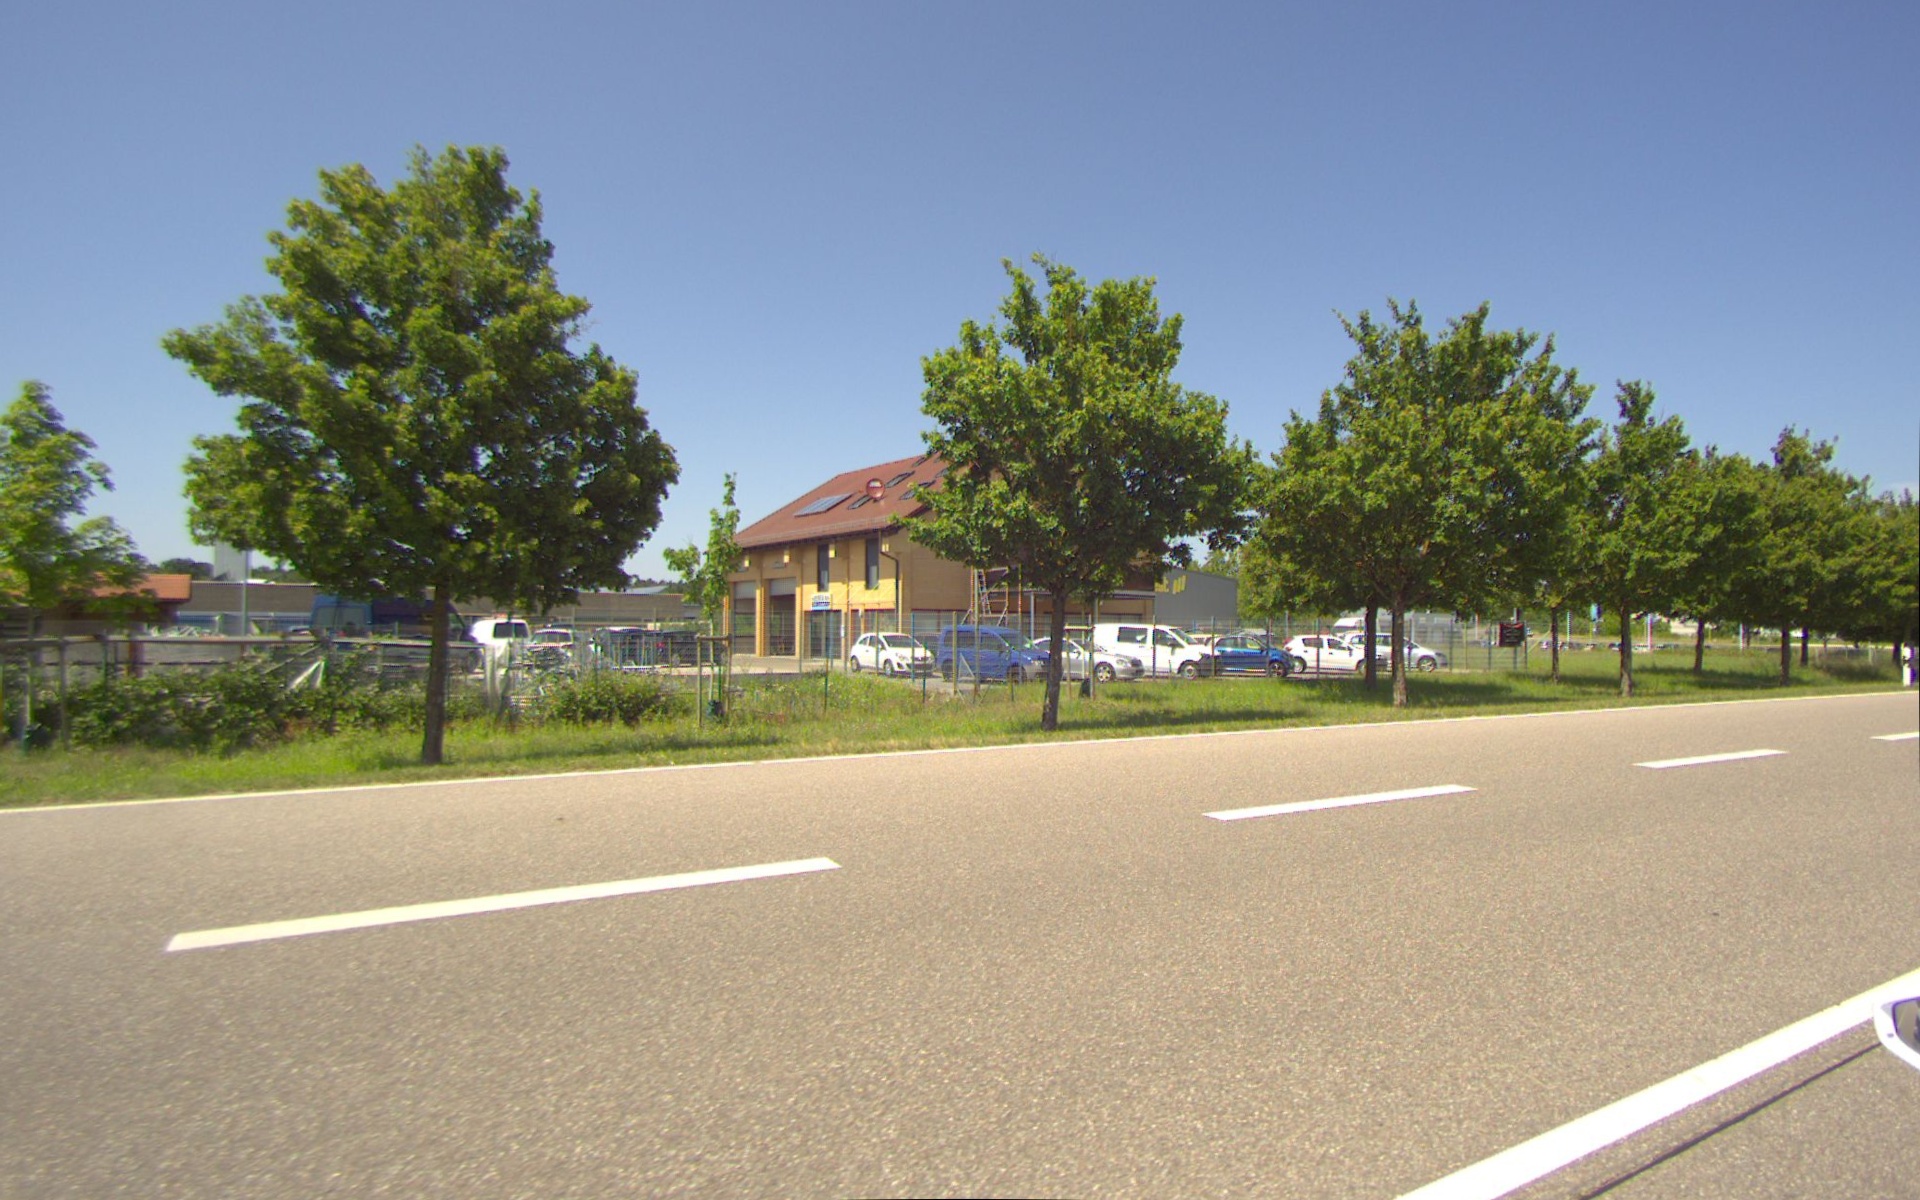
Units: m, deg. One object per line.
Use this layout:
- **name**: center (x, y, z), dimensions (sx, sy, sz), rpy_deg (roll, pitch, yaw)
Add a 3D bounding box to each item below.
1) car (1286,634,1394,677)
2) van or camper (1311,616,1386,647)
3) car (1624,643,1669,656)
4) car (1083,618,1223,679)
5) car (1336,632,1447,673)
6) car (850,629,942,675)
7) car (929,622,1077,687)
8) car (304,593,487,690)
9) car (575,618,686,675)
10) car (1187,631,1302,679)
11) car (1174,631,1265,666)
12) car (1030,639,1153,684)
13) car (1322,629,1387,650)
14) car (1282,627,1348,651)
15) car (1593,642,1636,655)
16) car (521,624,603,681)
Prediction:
- **car**: center (15.106, 2.177, 40.013), dimensions (3.916, 1.499, 1.673), rpy_deg (1, -1, 22)
- **van or camper**: center (31.670, 2.570, 81.783), dimensions (6.472, 2.394, 2.447), rpy_deg (2, -1, -35)
- **car**: center (79.307, 5.757, 116.034), dimensions (3.922, 1.412, 2.000), rpy_deg (1, -2, -2)
- **car**: center (6.919, 1.690, 36.032), dimensions (4.579, 1.980, 1.824), rpy_deg (1, -1, 28)
- **car**: center (18.312, 2.222, 42.822), dimensions (4.257, 1.563, 1.589), rpy_deg (1, 0, 21)
- **car**: center (-2.280, 1.782, 35.006), dimensions (1.625, 1.427, 3.664), rpy_deg (1, -1, -33)
- **car**: center (1.314, 1.640, 31.622), dimensions (4.236, 1.825, 2.017), rpy_deg (1, -1, 37)
- **car**: center (-17.427, 1.299, 31.469), dimensions (2.318, 2.758, 5.748), rpy_deg (0, -2, 2)
- **car**: center (-15.116, 2.156, 46.447), dimensions (2.017, 2.458, 5.102), rpy_deg (-1, -3, 23)
- **car**: center (10.742, 2.020, 37.917), dimensions (3.924, 1.617, 1.999), rpy_deg (1, -1, 24)
- **car**: center (11.825, 2.171, 45.723), dimensions (3.920, 1.416, 1.739), rpy_deg (1, -1, 18)
- **car**: center (4.338, 1.996, 33.317), dimensions (3.617, 1.281, 1.811), rpy_deg (1, -1, 34)
- **car**: center (28.910, 2.877, 73.660), dimensions (3.945, 1.372, 1.988), rpy_deg (0, -2, 44)
- **car**: center (24.781, 2.705, 70.232), dimensions (1.910, 1.528, 3.960), rpy_deg (2, -1, -36)
- **car**: center (78.084, 5.744, 119.884), dimensions (3.922, 1.412, 2.000), rpy_deg (1, -2, -2)
- **car**: center (-13.702, 1.797, 34.829), dimensions (2.021, 1.830, 4.623), rpy_deg (1, -2, -14)
